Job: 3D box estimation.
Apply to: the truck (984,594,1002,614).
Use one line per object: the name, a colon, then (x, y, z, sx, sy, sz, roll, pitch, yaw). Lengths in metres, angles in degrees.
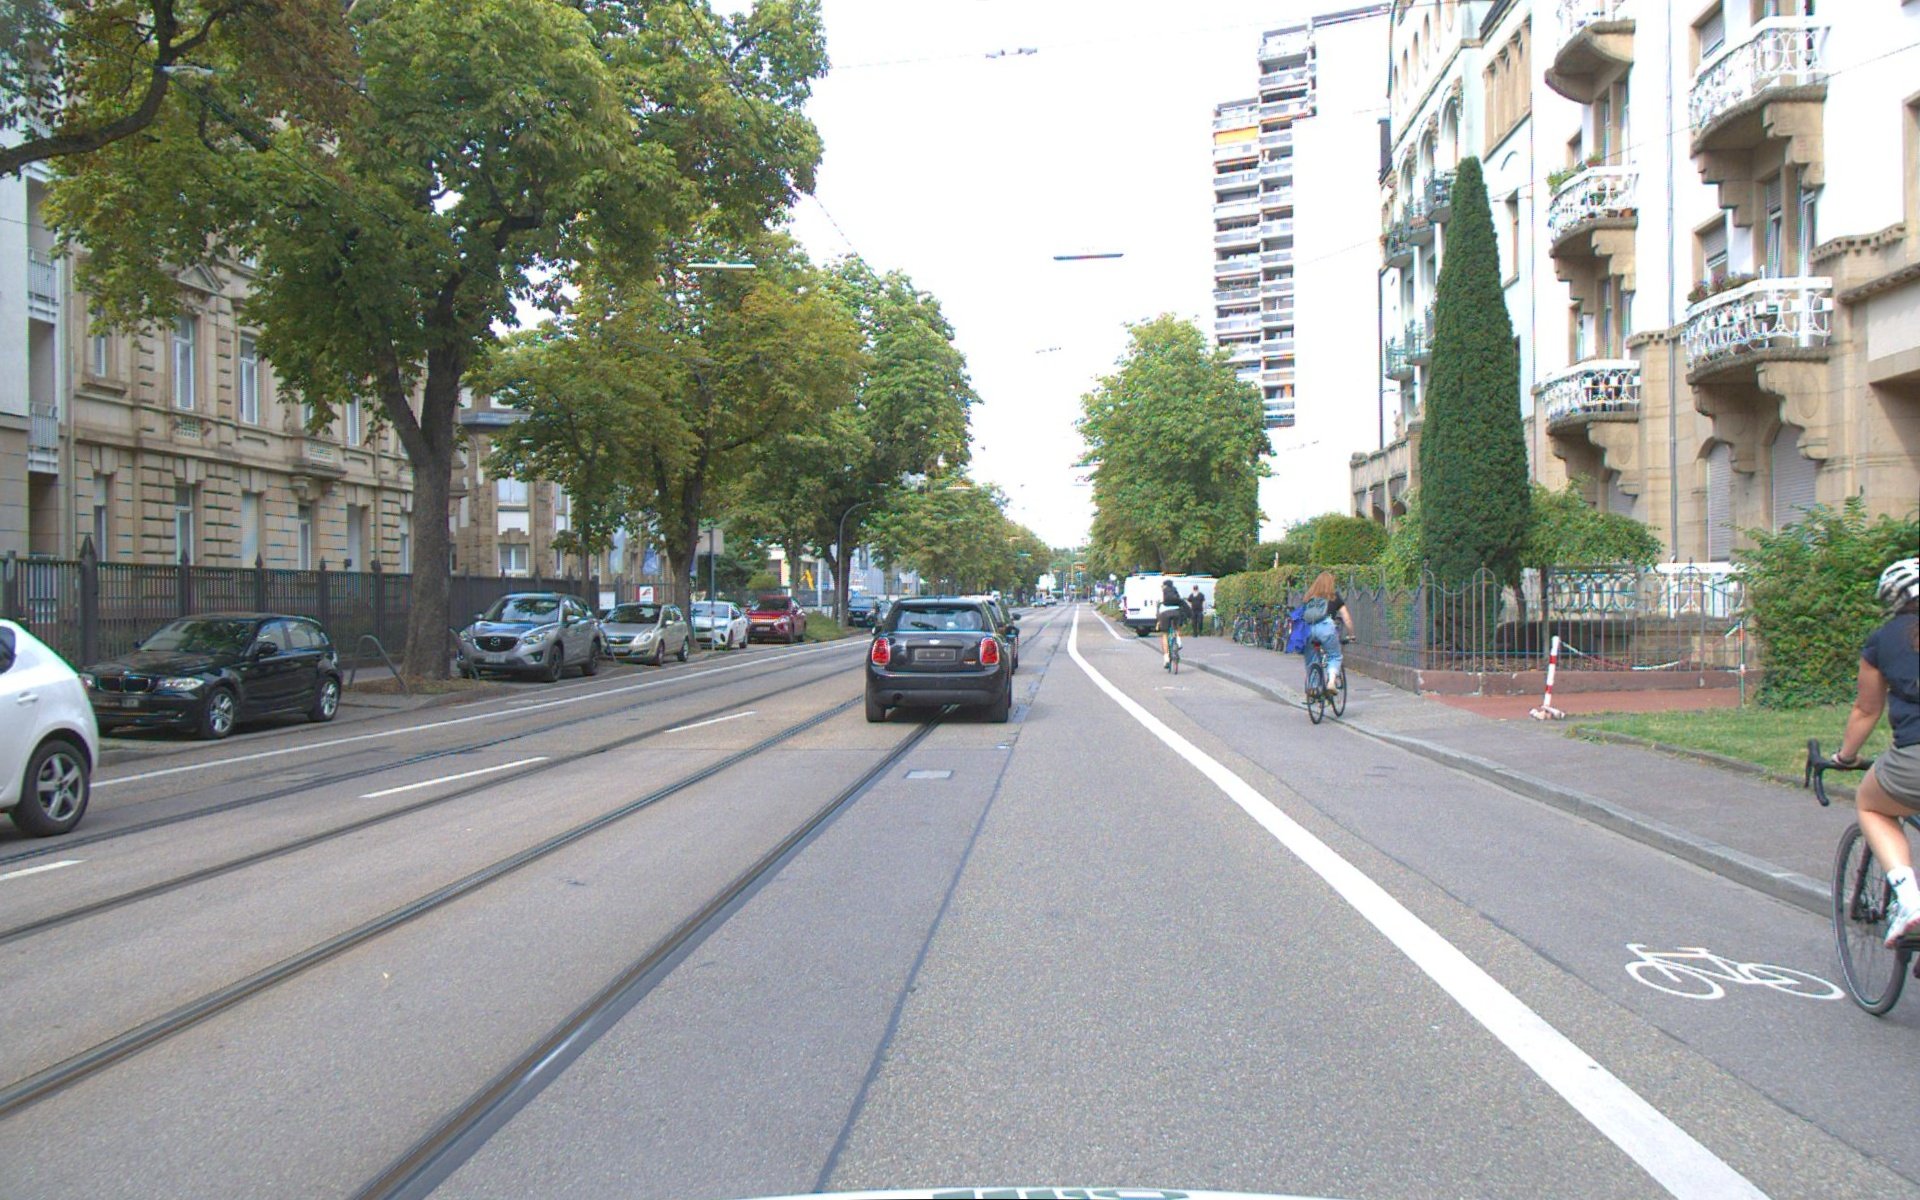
truck: (4.130, 0.512, 208.193, 2.027, 2.513, 4.901, -2, 0, 3)

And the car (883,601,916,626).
car: (-3.686, 0.810, 100.813, 1.657, 1.513, 3.679, 0, 0, 3)

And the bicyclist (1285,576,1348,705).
bicyclist: (4.298, 0.481, 19.912, 0.633, 1.495, 0.801, -3, 0, 15)

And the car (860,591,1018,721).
car: (-0.176, 0.629, 20.535, 1.756, 1.448, 4.001, 0, 0, 2)

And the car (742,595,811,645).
car: (-6.571, 0.683, 59.596, 1.685, 1.684, 4.544, 2, 0, 3)

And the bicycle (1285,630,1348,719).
bicycle: (4.355, 0.879, 20.112, 0.674, 0.979, 2.038, -1, 0, 14)

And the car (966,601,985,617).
car: (1.658, 0.952, 174.617, 1.765, 1.611, 4.033, -2, 0, 3)

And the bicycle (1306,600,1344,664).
bicycle: (6.654, 0.567, 30.210, 0.383, 1.122, 1.760, -2, 0, 4)

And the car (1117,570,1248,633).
car: (8.599, 0.073, 63.745, 4.910, 2.330, 2.351, 0, -1, -39)

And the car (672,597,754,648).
car: (-7.556, 0.662, 50.907, 1.685, 1.448, 4.025, 2, 0, 3)

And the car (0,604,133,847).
car: (-6.609, 0.791, 9.233, 1.537, 1.441, 4.003, -3, 0, 7)

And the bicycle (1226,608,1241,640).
bicycle: (8.272, 0.718, 50.018, 0.378, 0.923, 1.666, -2, -1, 8)

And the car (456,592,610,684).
car: (-8.361, 0.707, 32.758, 1.674, 1.703, 4.359, 0, 0, 4)

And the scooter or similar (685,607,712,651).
scooter or similar: (-7.601, 0.827, 48.035, 0.552, 1.244, 1.316, 0, 0, -19)

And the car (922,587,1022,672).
car: (0.249, 0.531, 31.671, 1.756, 1.496, 4.000, 1, 0, 1)

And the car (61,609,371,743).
car: (-9.238, 0.872, 20.952, 1.684, 1.449, 4.168, 2, 0, 6)

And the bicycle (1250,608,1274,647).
bicycle: (7.428, 0.678, 40.715, 0.475, 0.923, 1.666, -2, -1, 7)

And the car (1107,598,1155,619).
car: (12.845, 0.627, 123.991, 3.407, 1.600, 1.541, 0, 0, -35)

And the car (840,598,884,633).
car: (-4.828, 0.744, 82.145, 1.719, 1.676, 4.054, 0, 0, 3)

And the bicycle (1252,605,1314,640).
bicycle: (9.013, 0.640, 46.133, 1.625, 0.923, 0.487, -2, -1, 2)

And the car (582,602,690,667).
car: (-7.748, 0.790, 39.930, 1.567, 1.494, 4.081, 0, 0, 4)

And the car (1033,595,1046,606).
car: (12.016, 0.112, 250.861, 1.856, 1.656, 4.000, 0, 0, 1)

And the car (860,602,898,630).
car: (-4.340, 0.851, 89.093, 1.657, 1.452, 3.870, 0, 0, 3)

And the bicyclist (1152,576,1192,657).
bicyclist: (3.982, 0.305, 31.110, 0.643, 1.489, 1.179, 0, 0, 3)

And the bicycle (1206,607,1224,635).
bicycle: (8.519, 0.711, 55.284, 0.378, 0.923, 1.842, -2, -1, 2)

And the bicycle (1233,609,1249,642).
bicycle: (7.985, 0.720, 47.038, 0.378, 0.923, 1.666, -2, -1, 8)

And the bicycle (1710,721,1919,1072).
bicycle: (3.376, 1.002, 5.767, 0.625, 0.998, 2.072, 1, 0, 2)

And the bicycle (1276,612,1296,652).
bicycle: (7.308, 0.711, 37.115, 0.272, 0.867, 1.198, -2, -1, 4)

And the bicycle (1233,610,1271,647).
bicycle: (7.521, 0.723, 42.626, 0.476, 0.923, 1.662, -1, -1, -7)

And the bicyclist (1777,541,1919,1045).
bicyclist: (3.377, 0.616, 5.656, 0.625, 1.597, 1.111, 1, 0, 2)

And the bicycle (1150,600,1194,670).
bicycle: (3.971, 0.633, 31.074, 0.643, 1.271, 2.125, 0, 0, 3)

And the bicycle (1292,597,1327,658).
bicycle: (6.942, 0.526, 32.913, 0.383, 1.162, 1.922, -2, 0, 4)

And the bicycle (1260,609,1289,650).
bicycle: (7.398, 0.683, 38.927, 0.475, 0.923, 1.666, -2, -1, 4)

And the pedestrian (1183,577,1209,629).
pedestrian: (8.225, 0.092, 57.679, 0.769, 1.763, 0.896, -3, 0, 3)
